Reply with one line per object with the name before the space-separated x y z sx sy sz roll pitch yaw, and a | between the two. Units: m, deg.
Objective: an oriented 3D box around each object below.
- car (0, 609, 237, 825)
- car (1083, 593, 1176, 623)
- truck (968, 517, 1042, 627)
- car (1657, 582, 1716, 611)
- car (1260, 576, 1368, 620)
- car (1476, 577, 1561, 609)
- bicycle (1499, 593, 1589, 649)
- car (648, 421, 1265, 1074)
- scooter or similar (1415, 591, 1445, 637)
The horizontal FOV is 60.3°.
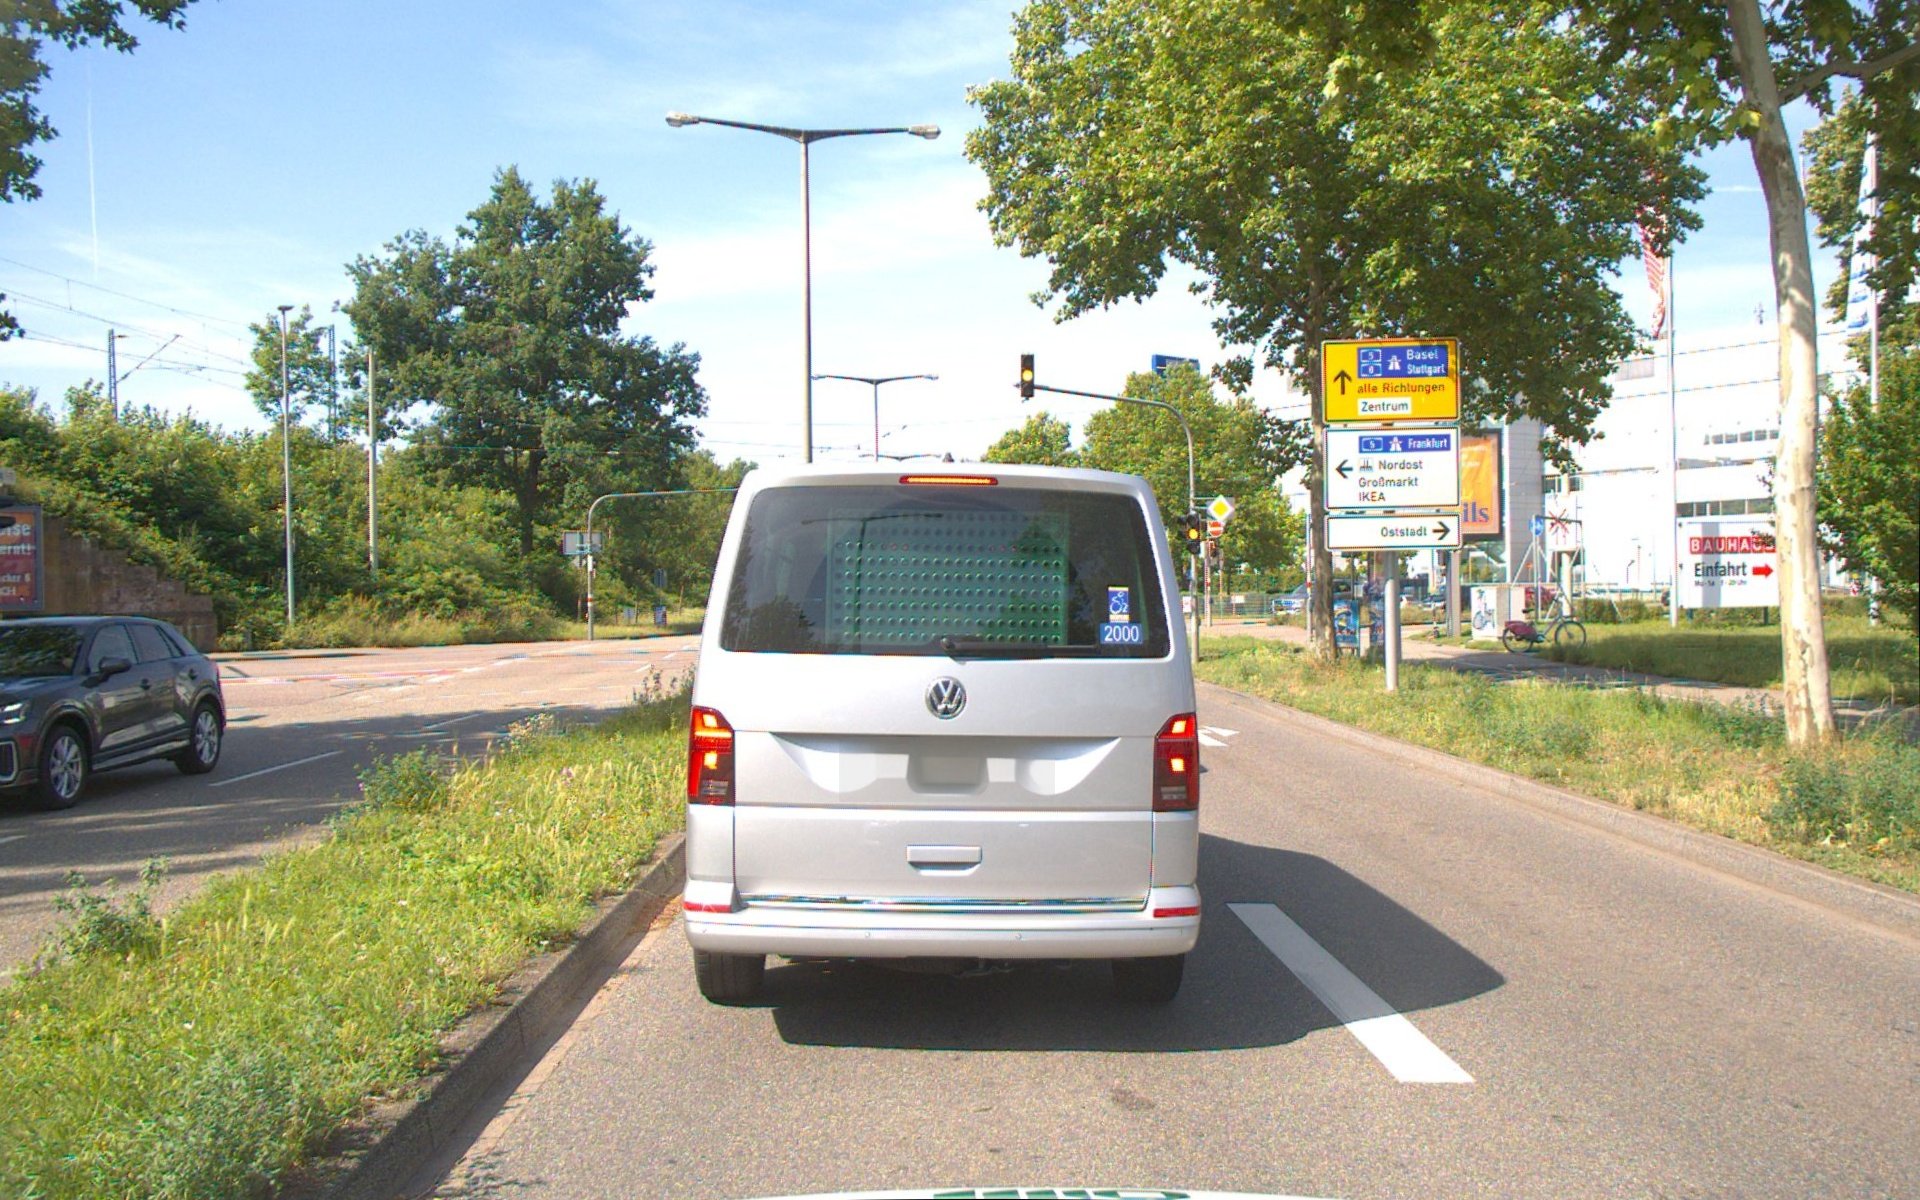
car | -7.778 0.902 13.964 1.827 1.492 3.934 -3 1 -5
car | 8.920 0.416 87.124 4.529 1.469 1.777 -1 0 33
truck | 1.679 -1.029 65.619 2.501 4.026 8.972 -1 0 -1
car | 42.261 -0.196 96.182 3.578 1.593 1.968 1 0 -43
car | 14.769 -0.103 68.967 4.578 1.718 1.890 -1 0 -38
car | 27.860 -0.358 82.464 4.578 1.469 1.758 -1 0 -38
bicycle | 12.501 0.453 35.450 1.748 1.127 0.504 -3 -1 18
car | -0.044 0.447 7.639 1.902 2.006 5.021 0 0 -1
scooter or similar | 12.090 0.354 42.576 0.416 1.146 1.123 -1 0 -2
